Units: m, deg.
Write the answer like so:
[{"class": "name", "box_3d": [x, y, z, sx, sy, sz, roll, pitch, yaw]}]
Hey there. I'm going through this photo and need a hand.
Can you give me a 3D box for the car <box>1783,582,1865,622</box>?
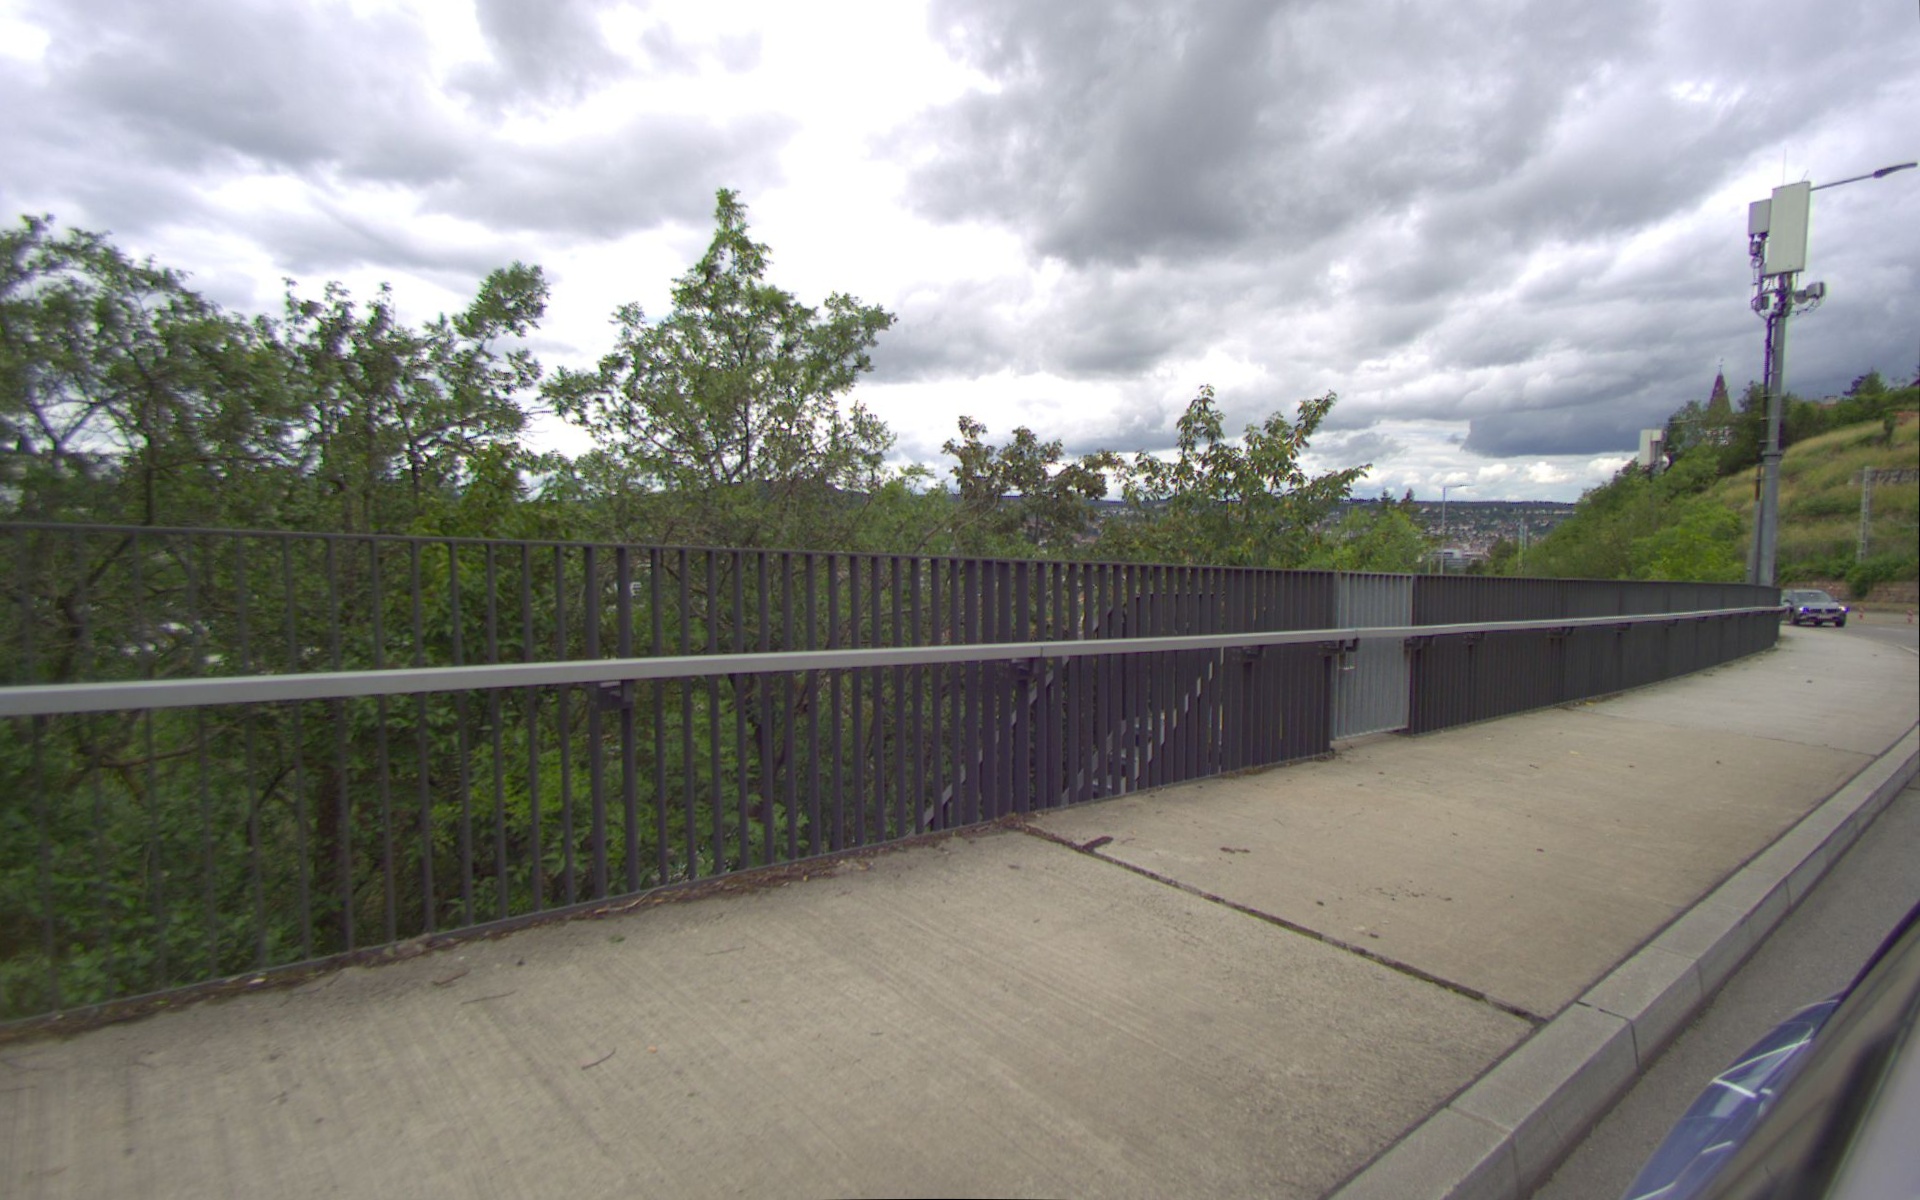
[{"class": "car", "box_3d": [38.702, 0.040, 45.451, 1.983, 1.692, 4.490, 1, 1, 30]}]
